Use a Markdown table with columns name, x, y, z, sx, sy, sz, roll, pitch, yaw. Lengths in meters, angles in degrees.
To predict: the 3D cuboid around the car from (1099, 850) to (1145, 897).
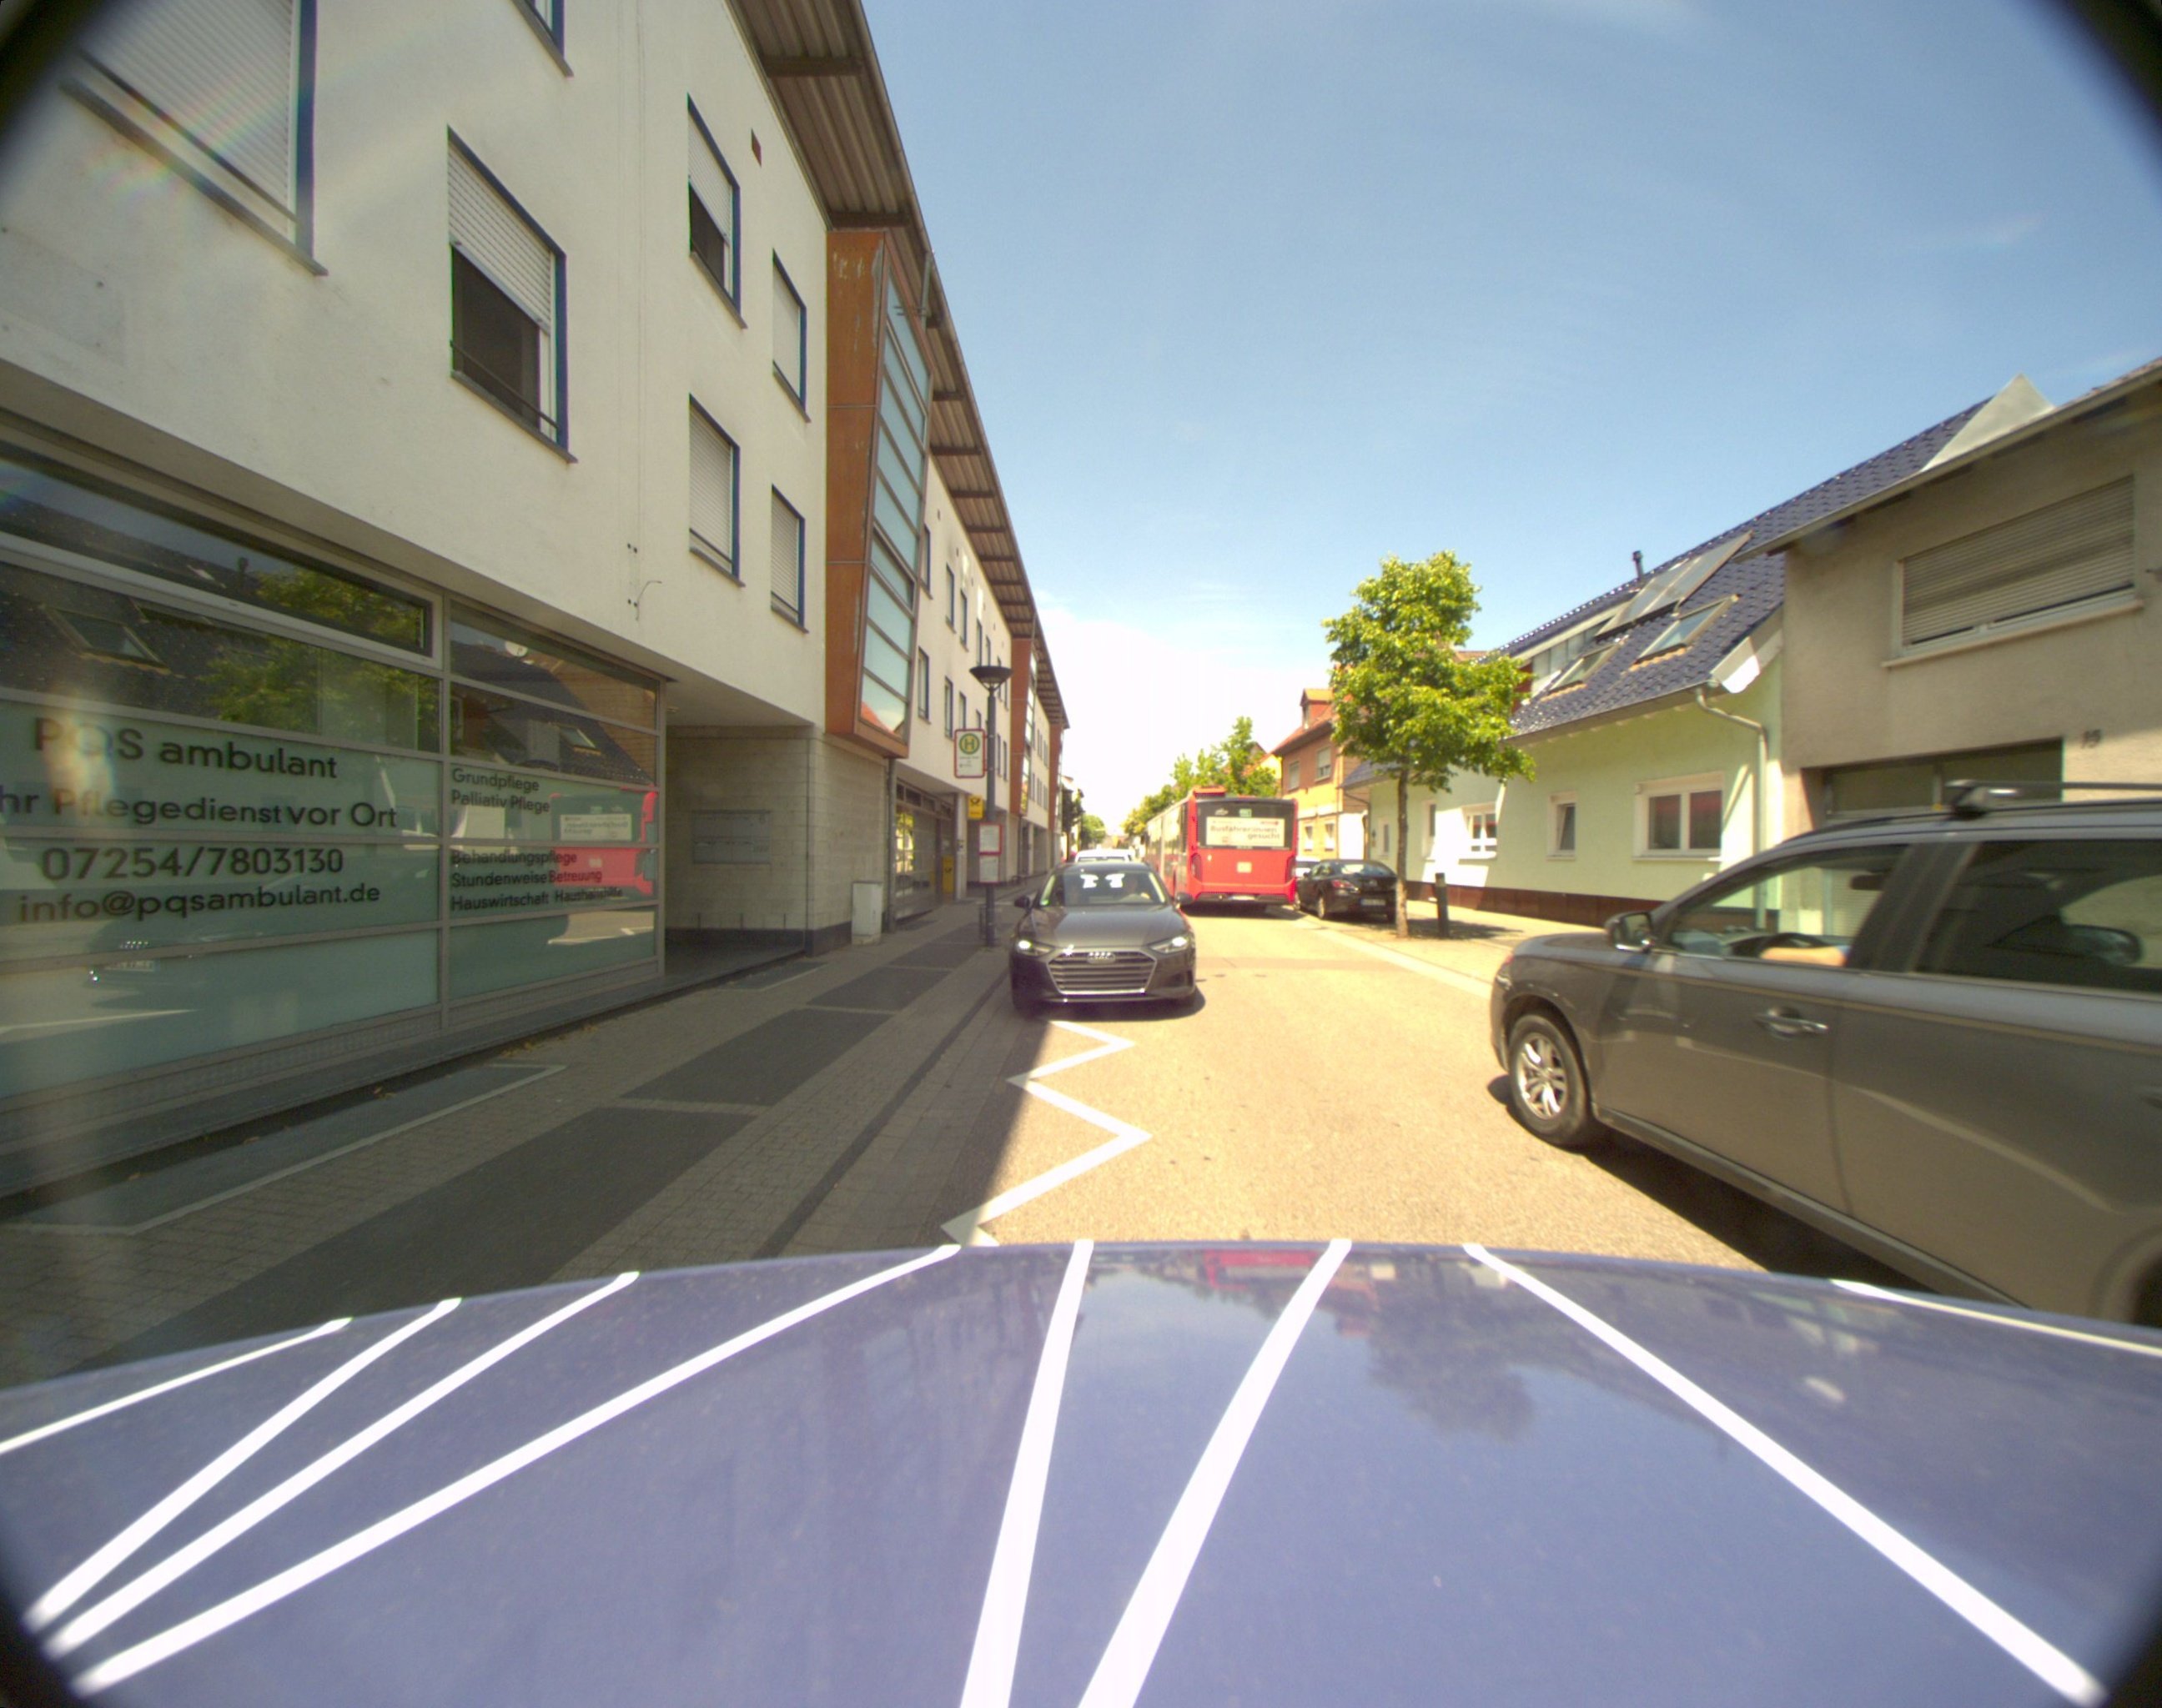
| name | x | y | z | sx | sy | sz | roll | pitch | yaw |
| --- | --- | --- | --- | --- | --- | --- | --- | --- | --- |
| car | 1.512 | 0.688 | 28.843 | 1.581 | 1.620 | 4.065 | 1 | 1 | 2 |

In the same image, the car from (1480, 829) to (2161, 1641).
| name | x | y | z | sx | sy | sz | roll | pitch | yaw |
| --- | --- | --- | --- | --- | --- | --- | --- | --- | --- |
| car | 3.127 | 0.799 | 2.271 | 1.679 | 1.706 | 4.232 | 0 | 1 | 1 |

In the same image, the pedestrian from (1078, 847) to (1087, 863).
| name | x | y | z | sx | sy | sz | roll | pitch | yaw |
| --- | --- | --- | --- | --- | --- | --- | --- | --- | --- |
| pedestrian | 0.146 | 0.098 | 78.079 | 0.825 | 1.579 | 0.919 | 3 | 1 | 2 |

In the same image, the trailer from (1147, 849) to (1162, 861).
| name | x | y | z | sx | sy | sz | roll | pitch | yaw |
| --- | --- | --- | --- | --- | --- | --- | --- | --- | --- |
| trailer | 9.596 | 0.111 | 99.061 | 1.493 | 1.572 | 3.883 | -2 | 0 | 0 |

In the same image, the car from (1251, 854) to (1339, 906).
| name | x | y | z | sx | sy | sz | roll | pitch | yaw |
| --- | --- | --- | --- | --- | --- | --- | --- | --- | --- |
| car | 6.622 | 0.748 | 24.012 | 1.724 | 1.428 | 4.460 | 0 | 1 | 3 |

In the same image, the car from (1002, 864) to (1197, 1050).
| name | x | y | z | sx | sy | sz | roll | pitch | yaw |
| --- | --- | --- | --- | --- | --- | --- | --- | --- | --- |
| car | 0.219 | 0.881 | 8.320 | 1.581 | 1.424 | 4.065 | -1 | 1 | 2 |

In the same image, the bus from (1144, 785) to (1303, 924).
| name | x | y | z | sx | sy | sz | roll | pitch | yaw |
| --- | --- | --- | --- | --- | --- | --- | --- | --- | --- |
| bus | 3.969 | -0.060 | 26.197 | 2.675 | 3.106 | 17.807 | 1 | 1 | 2 |

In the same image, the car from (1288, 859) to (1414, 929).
| name | x | y | z | sx | sy | sz | roll | pitch | yaw |
| --- | --- | --- | --- | --- | --- | --- | --- | --- | --- |
| car | 6.411 | 0.874 | 18.595 | 1.664 | 1.428 | 4.539 | 0 | 1 | 3 |

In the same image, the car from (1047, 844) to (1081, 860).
| name | x | y | z | sx | sy | sz | roll | pitch | yaw |
| --- | --- | --- | --- | --- | --- | --- | --- | --- | --- |
| car | -2.112 | -0.252 | 96.058 | 4.203 | 1.849 | 2.000 | 1 | 1 | 2 |

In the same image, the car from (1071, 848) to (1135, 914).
| name | x | y | z | sx | sy | sz | roll | pitch | yaw |
| --- | --- | --- | --- | --- | --- | --- | --- | --- | --- |
| car | 0.619 | 0.664 | 20.982 | 1.581 | 1.620 | 4.065 | 1 | 1 | 2 |
